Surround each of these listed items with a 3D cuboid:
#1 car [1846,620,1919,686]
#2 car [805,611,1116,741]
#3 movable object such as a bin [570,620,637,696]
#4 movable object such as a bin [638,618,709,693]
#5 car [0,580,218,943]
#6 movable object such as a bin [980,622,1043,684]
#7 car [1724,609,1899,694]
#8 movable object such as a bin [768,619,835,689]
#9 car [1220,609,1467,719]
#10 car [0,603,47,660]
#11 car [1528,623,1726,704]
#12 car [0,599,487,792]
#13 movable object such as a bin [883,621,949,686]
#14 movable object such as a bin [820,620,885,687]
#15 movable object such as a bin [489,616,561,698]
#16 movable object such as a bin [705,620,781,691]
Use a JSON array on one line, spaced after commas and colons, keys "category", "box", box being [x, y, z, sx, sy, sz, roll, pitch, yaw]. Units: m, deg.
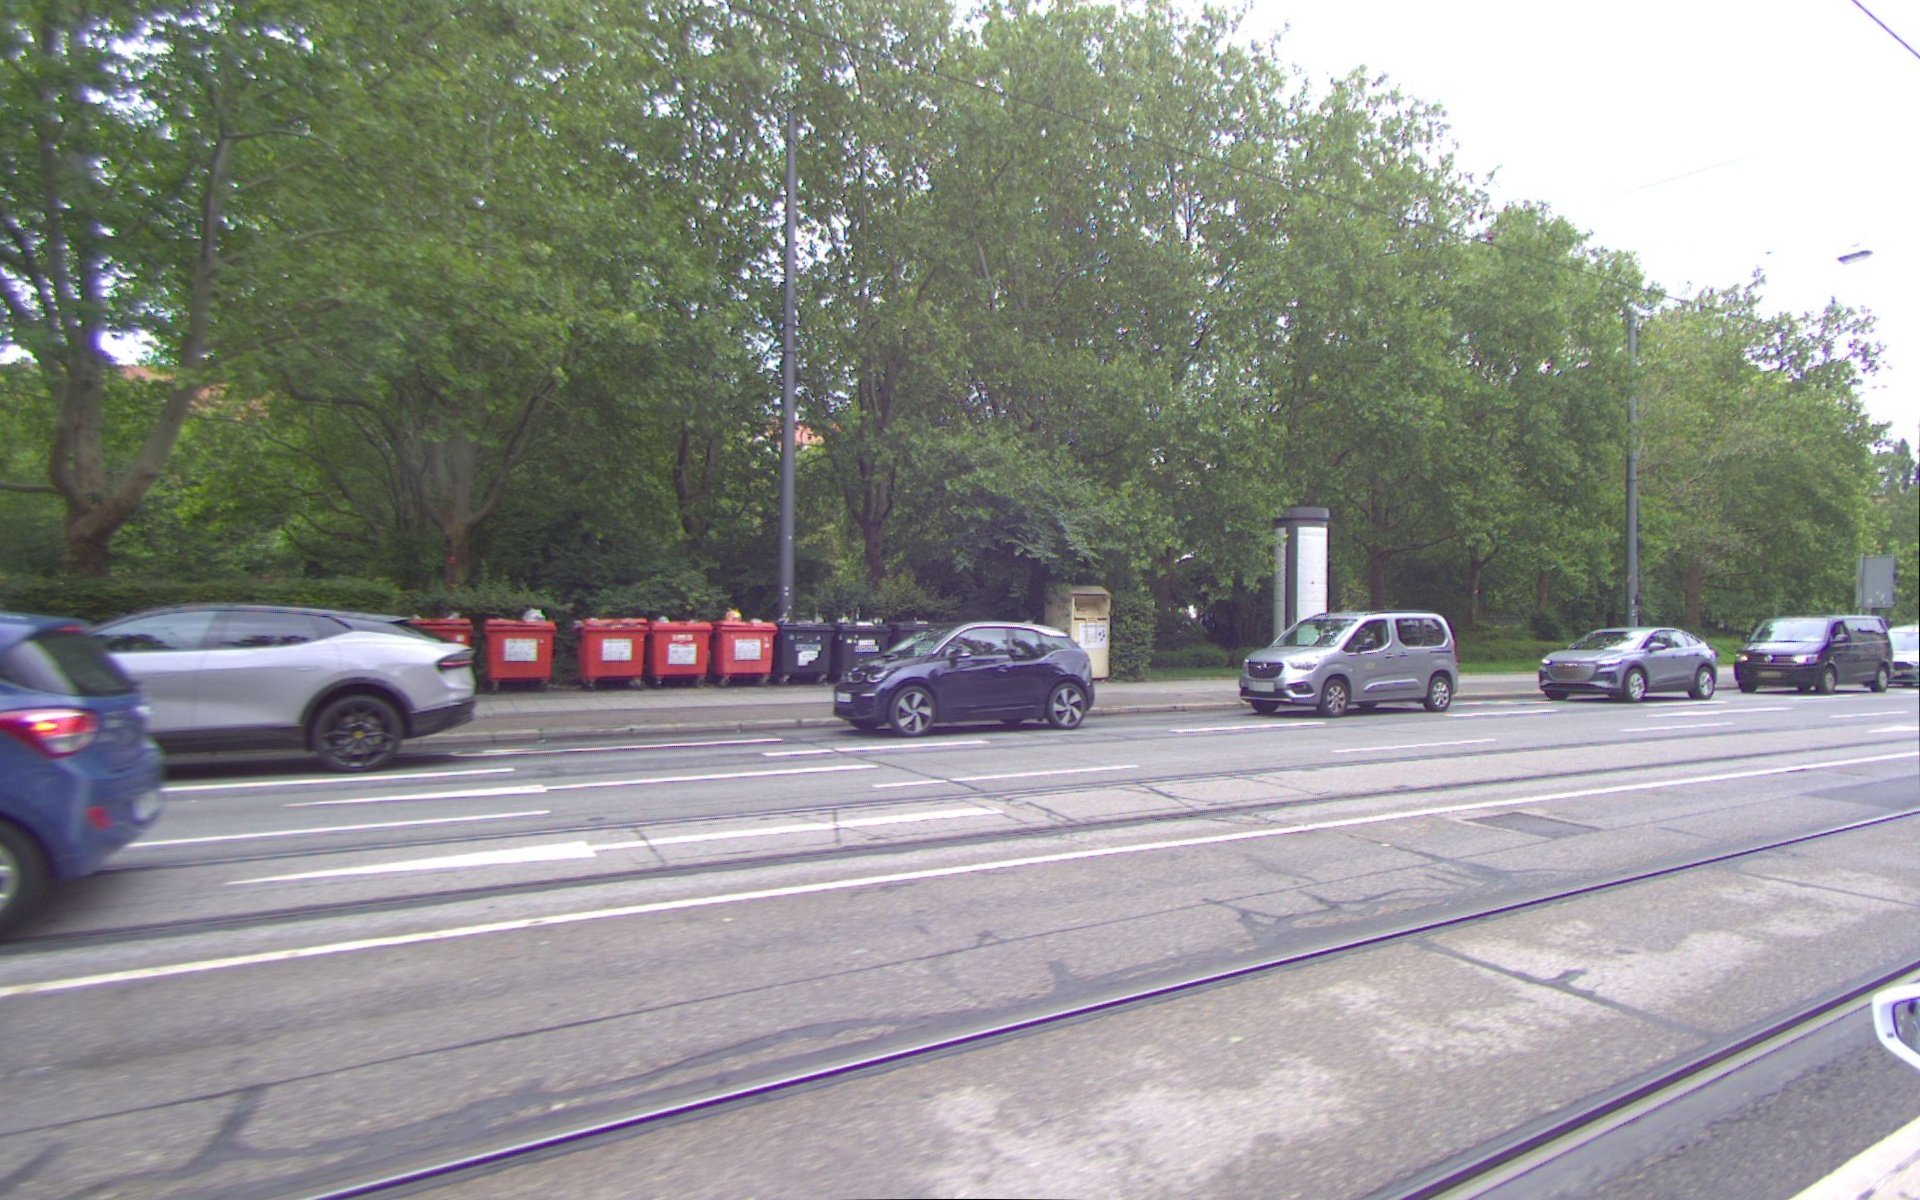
[{"category": "car", "box": [28.081, 1.537, 29.395, 4.463, 1.812, 1.792, 1, -3, -29]}, {"category": "car", "box": [0.049, 1.051, 14.888, 4.301, 1.689, 1.792, 1, -2, -29]}, {"category": "movable object such as a bin", "box": [-6.772, 1.078, 19.091, 1.003, 1.371, 0.929, 1, 0, -33]}, {"category": "movable object such as a bin", "box": [-5.683, 1.078, 19.904, 1.117, 1.371, 0.928, 1, 2, -33]}, {"category": "car", "box": [-5.990, 0.664, 4.257, 4.301, 1.542, 1.792, 2, -2, -29]}, {"category": "movable object such as a bin", "box": [1.212, 1.245, 23.811, 1.146, 1.371, 0.928, 1, 2, -33]}, {"category": "car", "box": [22.017, 1.293, 25.925, 4.977, 2.017, 1.792, 1, -2, -29]}, {"category": "movable object such as a bin", "box": [-3.351, 1.128, 21.238, 1.071, 1.371, 0.928, 1, 3, -33]}, {"category": "car", "box": [7.005, 1.109, 18.258, 4.417, 1.803, 1.792, 1, -2, -29]}, {"category": "car", "box": [-30.186, 0.972, 29.993, 3.953, 1.684, 1.984, -1, 0, -31]}, {"category": "car", "box": [14.909, 1.363, 22.396, 4.532, 1.656, 1.792, 1, -2, -29]}, {"category": "car", "box": [-7.528, 0.871, 10.077, 4.938, 1.664, 1.792, 1, -2, -29]}, {"category": "movable object such as a bin", "box": [-0.989, 1.184, 22.487, 1.146, 1.371, 0.928, 1, 2, -33]}, {"category": "movable object such as a bin", "box": [-2.335, 1.151, 21.827, 1.071, 1.371, 0.928, 1, 2, -33]}, {"category": "movable object such as a bin", "box": [-8.021, 1.023, 18.514, 1.071, 1.371, 0.928, 1, 4, -33]}, {"category": "movable object such as a bin", "box": [-4.450, 1.111, 20.596, 1.264, 1.371, 0.928, 1, 1, -33]}]
